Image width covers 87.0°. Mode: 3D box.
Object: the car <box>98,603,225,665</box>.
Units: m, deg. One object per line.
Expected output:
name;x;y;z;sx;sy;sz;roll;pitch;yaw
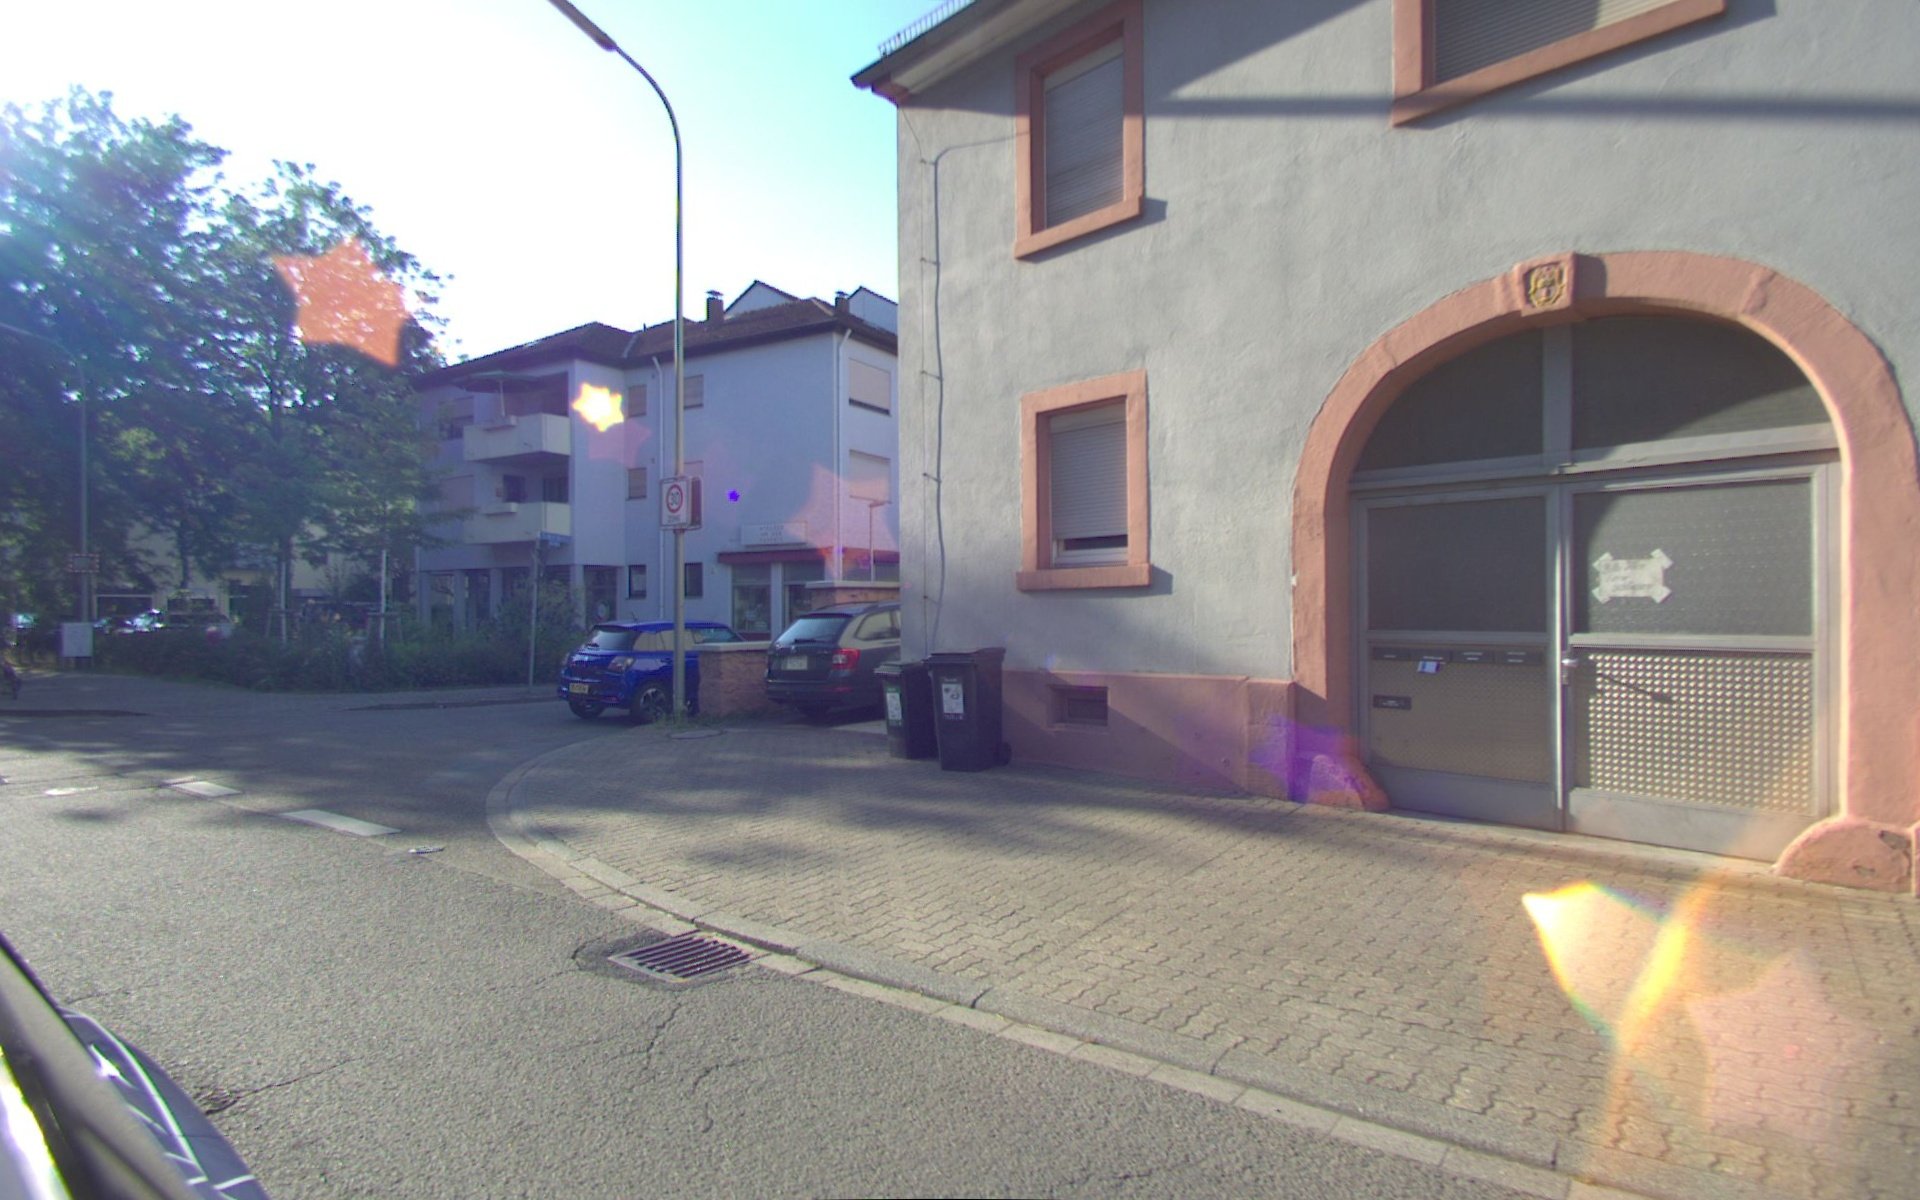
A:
car;-26.581;1.112;33.633;4.891;1.909;1.829;-1;-1;33

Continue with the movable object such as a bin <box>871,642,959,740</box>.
movable object such as a bin;-0.430;0.854;9.724;0.605;0.879;0.593;-1;0;35

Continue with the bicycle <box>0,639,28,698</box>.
bicycle;-17.630;1.231;18.459;1.940;1.010;0.696;-1;-1;40

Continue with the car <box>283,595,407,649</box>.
car;-23.530;0.832;38.729;4.298;1.963;2.007;-1;-1;25

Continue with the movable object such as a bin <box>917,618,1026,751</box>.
movable object such as a bin;0.104;0.714;8.934;0.750;1.102;0.593;-1;-1;37

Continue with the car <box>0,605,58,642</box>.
car;-37.727;0.923;40.665;3.633;1.419;1.507;-1;-2;37

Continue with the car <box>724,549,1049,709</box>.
car;-0.835;0.303;13.907;1.985;1.808;4.322;-4;0;38

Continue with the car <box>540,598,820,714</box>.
car;-4.193;0.822;15.589;1.997;1.542;3.732;-2;-3;37
